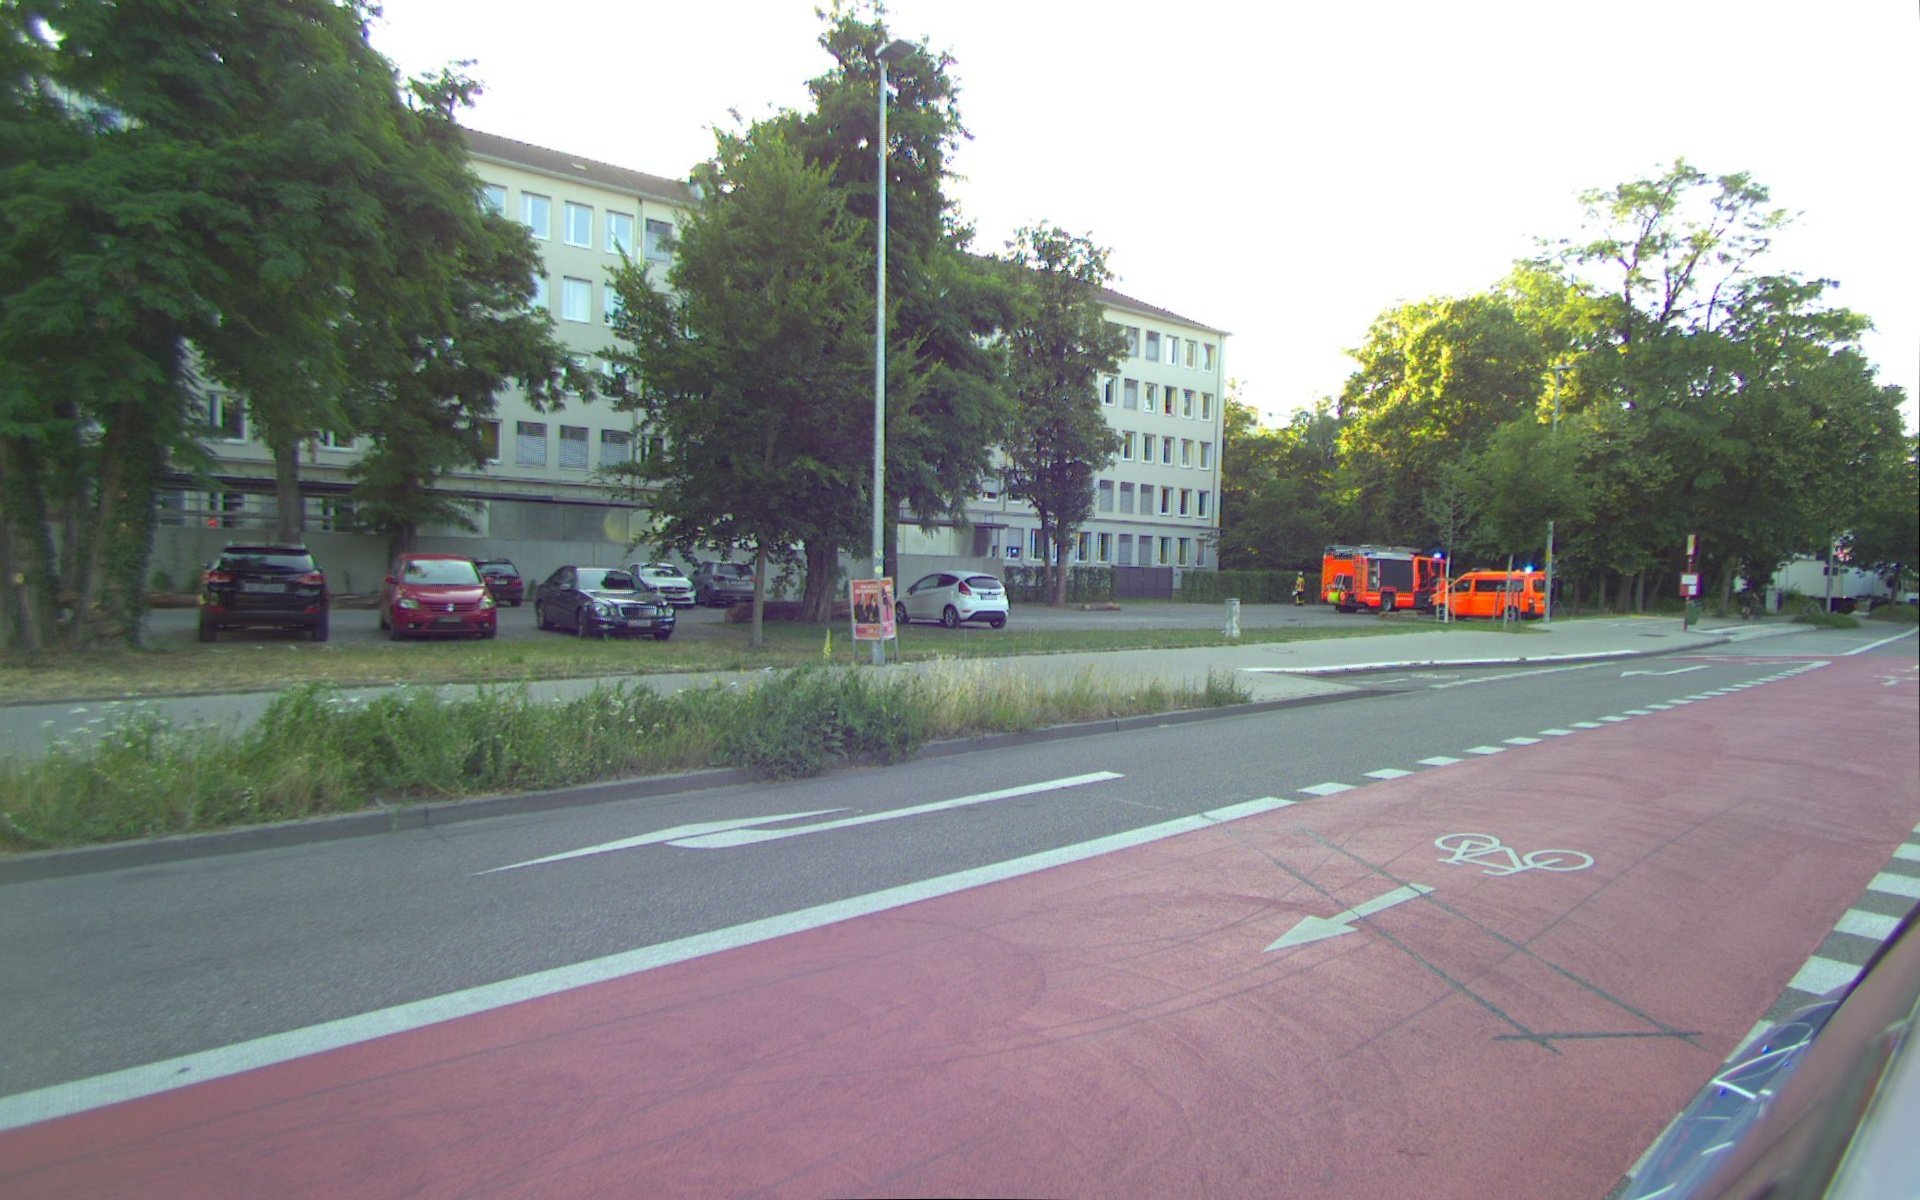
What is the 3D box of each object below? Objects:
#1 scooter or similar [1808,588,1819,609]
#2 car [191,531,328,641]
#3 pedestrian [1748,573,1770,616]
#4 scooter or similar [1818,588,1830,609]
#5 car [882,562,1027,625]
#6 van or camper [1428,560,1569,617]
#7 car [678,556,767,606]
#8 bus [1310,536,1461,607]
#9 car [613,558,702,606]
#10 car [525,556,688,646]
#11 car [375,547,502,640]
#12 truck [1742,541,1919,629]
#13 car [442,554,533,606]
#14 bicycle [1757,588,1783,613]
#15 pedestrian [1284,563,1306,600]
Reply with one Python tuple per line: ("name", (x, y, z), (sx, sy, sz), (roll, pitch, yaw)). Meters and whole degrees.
("scooter or similar", (53.359, -0.113, 63.267), (0.482, 1.297, 1.213), (5, 3, 40))
("car", (-12.397, -0.277, 17.893), (1.802, 1.715, 3.910), (0, 1, -36))
("pedestrian", (38.402, -0.255, 48.636), (0.722, 2.038, 0.685), (3, 2, 39))
("scooter or similar", (54.817, -0.080, 64.204), (0.482, 1.297, 1.123), (5, 3, 41))
("car", (-0.212, -0.218, 27.054), (1.876, 1.556, 3.999), (0, 2, -37))
("van or camper", (23.000, -0.535, 43.411), (2.252, 2.272, 4.828), (0, 1, -36))
("car", (-8.352, -0.688, 35.426), (1.875, 1.636, 4.004), (-1, 2, -32))
("bus", (20.937, -1.349, 49.612), (7.810, 3.236, 2.999), (0, 1, -34))
("car", (-10.142, -0.623, 33.730), (1.798, 1.494, 4.002), (0, 1, -33))
("car", (-7.445, -0.083, 21.012), (1.866, 1.465, 4.584), (-2, 6, -37))
("car", (-10.153, -0.192, 19.552), (1.751, 1.580, 4.003), (0, 2, -34))
("truck", (64.167, -1.175, 73.360), (5.076, 5.642, 15.047), (2, 2, 9))
("car", (-14.462, -0.627, 30.874), (1.866, 1.460, 4.001), (0, 2, -35))
("bicycle", (38.875, 0.003, 48.607), (0.829, 1.110, 1.942), (6, 4, 37))
("pedestrian", (18.459, -1.013, 55.734), (0.810, 2.038, 0.774), (1, 2, -32))
